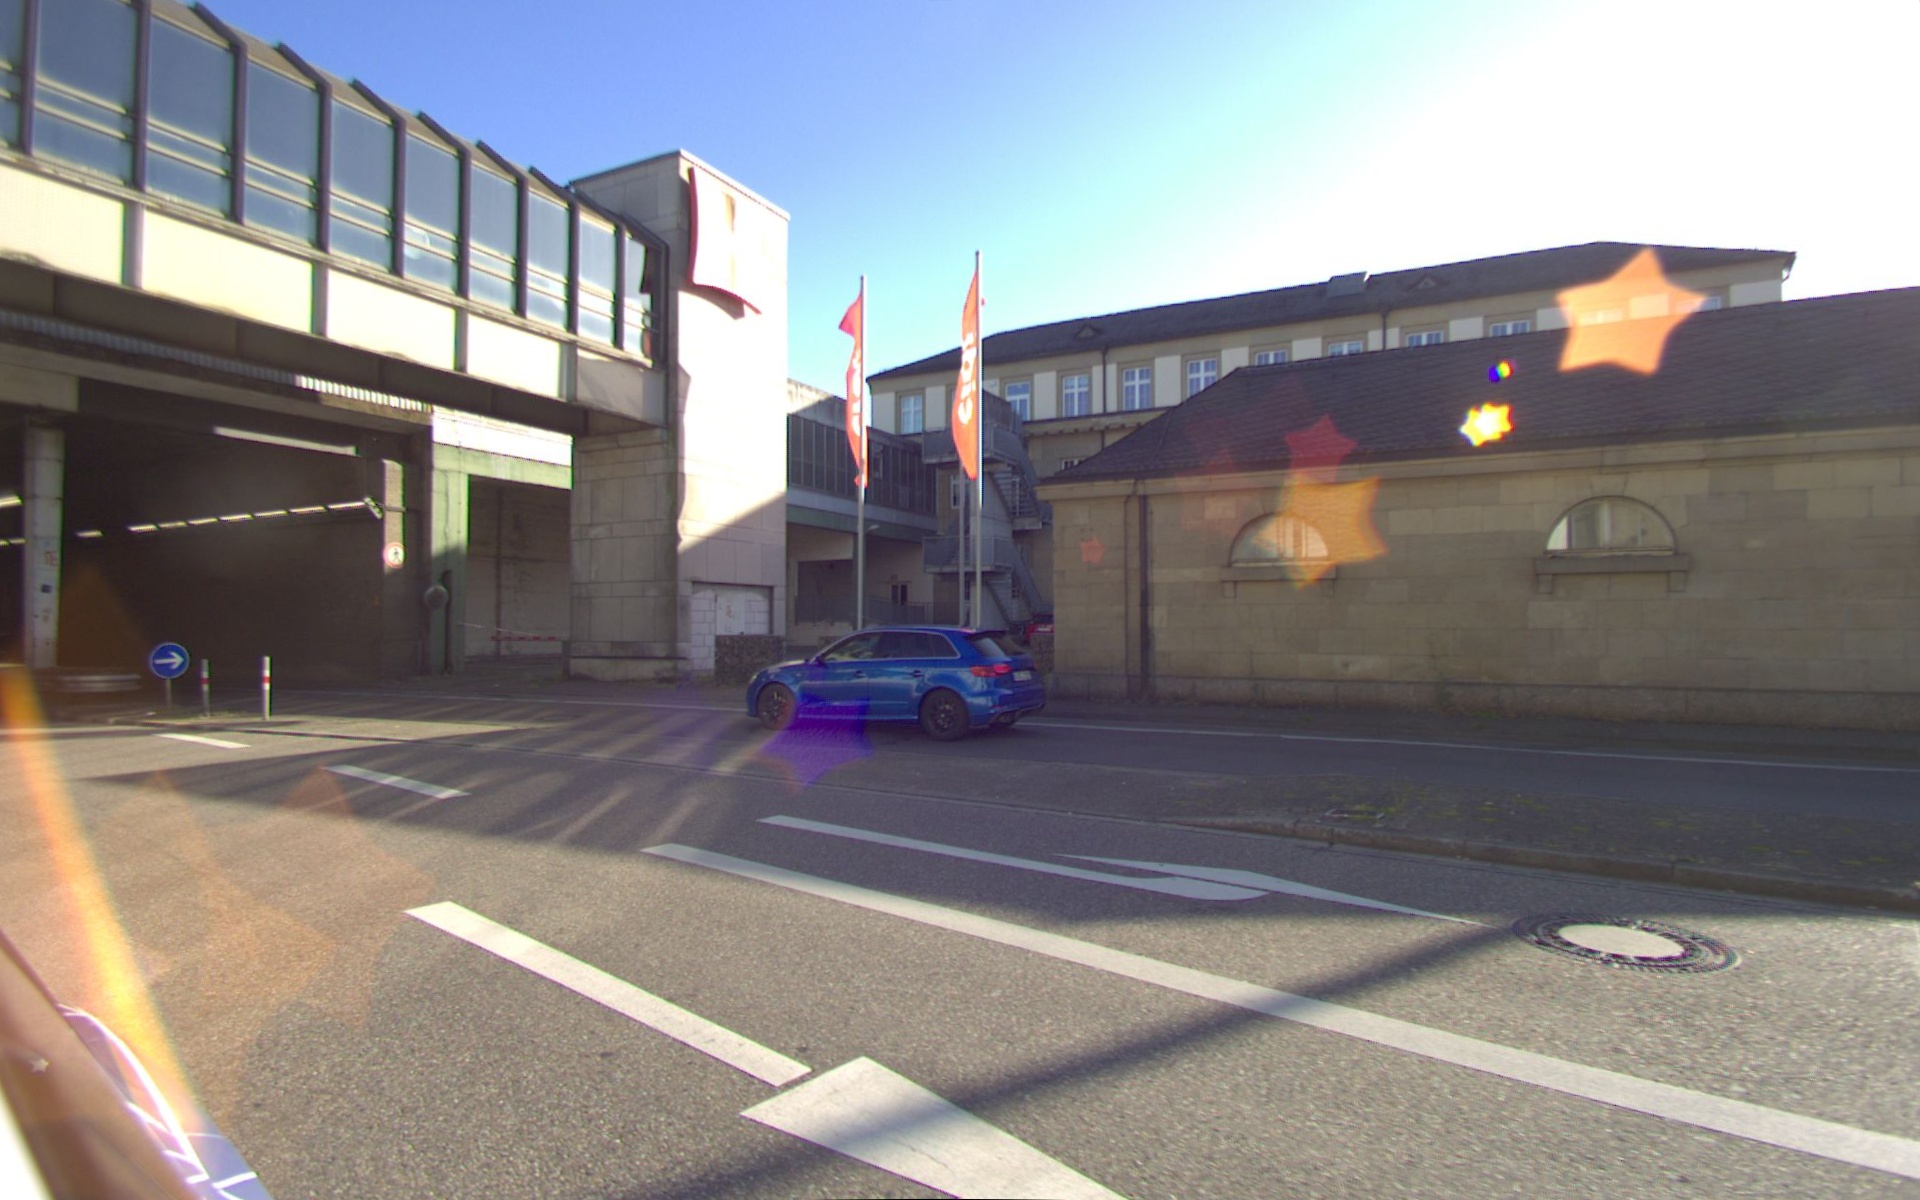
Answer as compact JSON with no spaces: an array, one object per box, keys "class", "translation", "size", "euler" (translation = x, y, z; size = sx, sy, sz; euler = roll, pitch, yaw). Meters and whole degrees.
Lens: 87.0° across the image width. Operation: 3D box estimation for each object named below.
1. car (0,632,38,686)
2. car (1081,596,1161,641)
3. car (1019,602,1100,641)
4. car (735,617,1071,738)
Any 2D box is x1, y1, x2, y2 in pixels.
[{"class":"car","translation":[-26.899,1.588,27.291],"size":[4.396,1.416,1.740],"euler":[-2,-2,29]},{"class":"car","translation":[6.233,0.713,38.918],"size":[1.940,1.613,3.907],"euler":[-1,-2,26]},{"class":"car","translation":[3.987,0.847,39.983],"size":[1.940,1.453,3.964],"euler":[-1,-2,26]},{"class":"car","translation":[-0.812,0.960,13.587],"size":[4.229,1.401,1.798],"euler":[-2,-2,30]}]
